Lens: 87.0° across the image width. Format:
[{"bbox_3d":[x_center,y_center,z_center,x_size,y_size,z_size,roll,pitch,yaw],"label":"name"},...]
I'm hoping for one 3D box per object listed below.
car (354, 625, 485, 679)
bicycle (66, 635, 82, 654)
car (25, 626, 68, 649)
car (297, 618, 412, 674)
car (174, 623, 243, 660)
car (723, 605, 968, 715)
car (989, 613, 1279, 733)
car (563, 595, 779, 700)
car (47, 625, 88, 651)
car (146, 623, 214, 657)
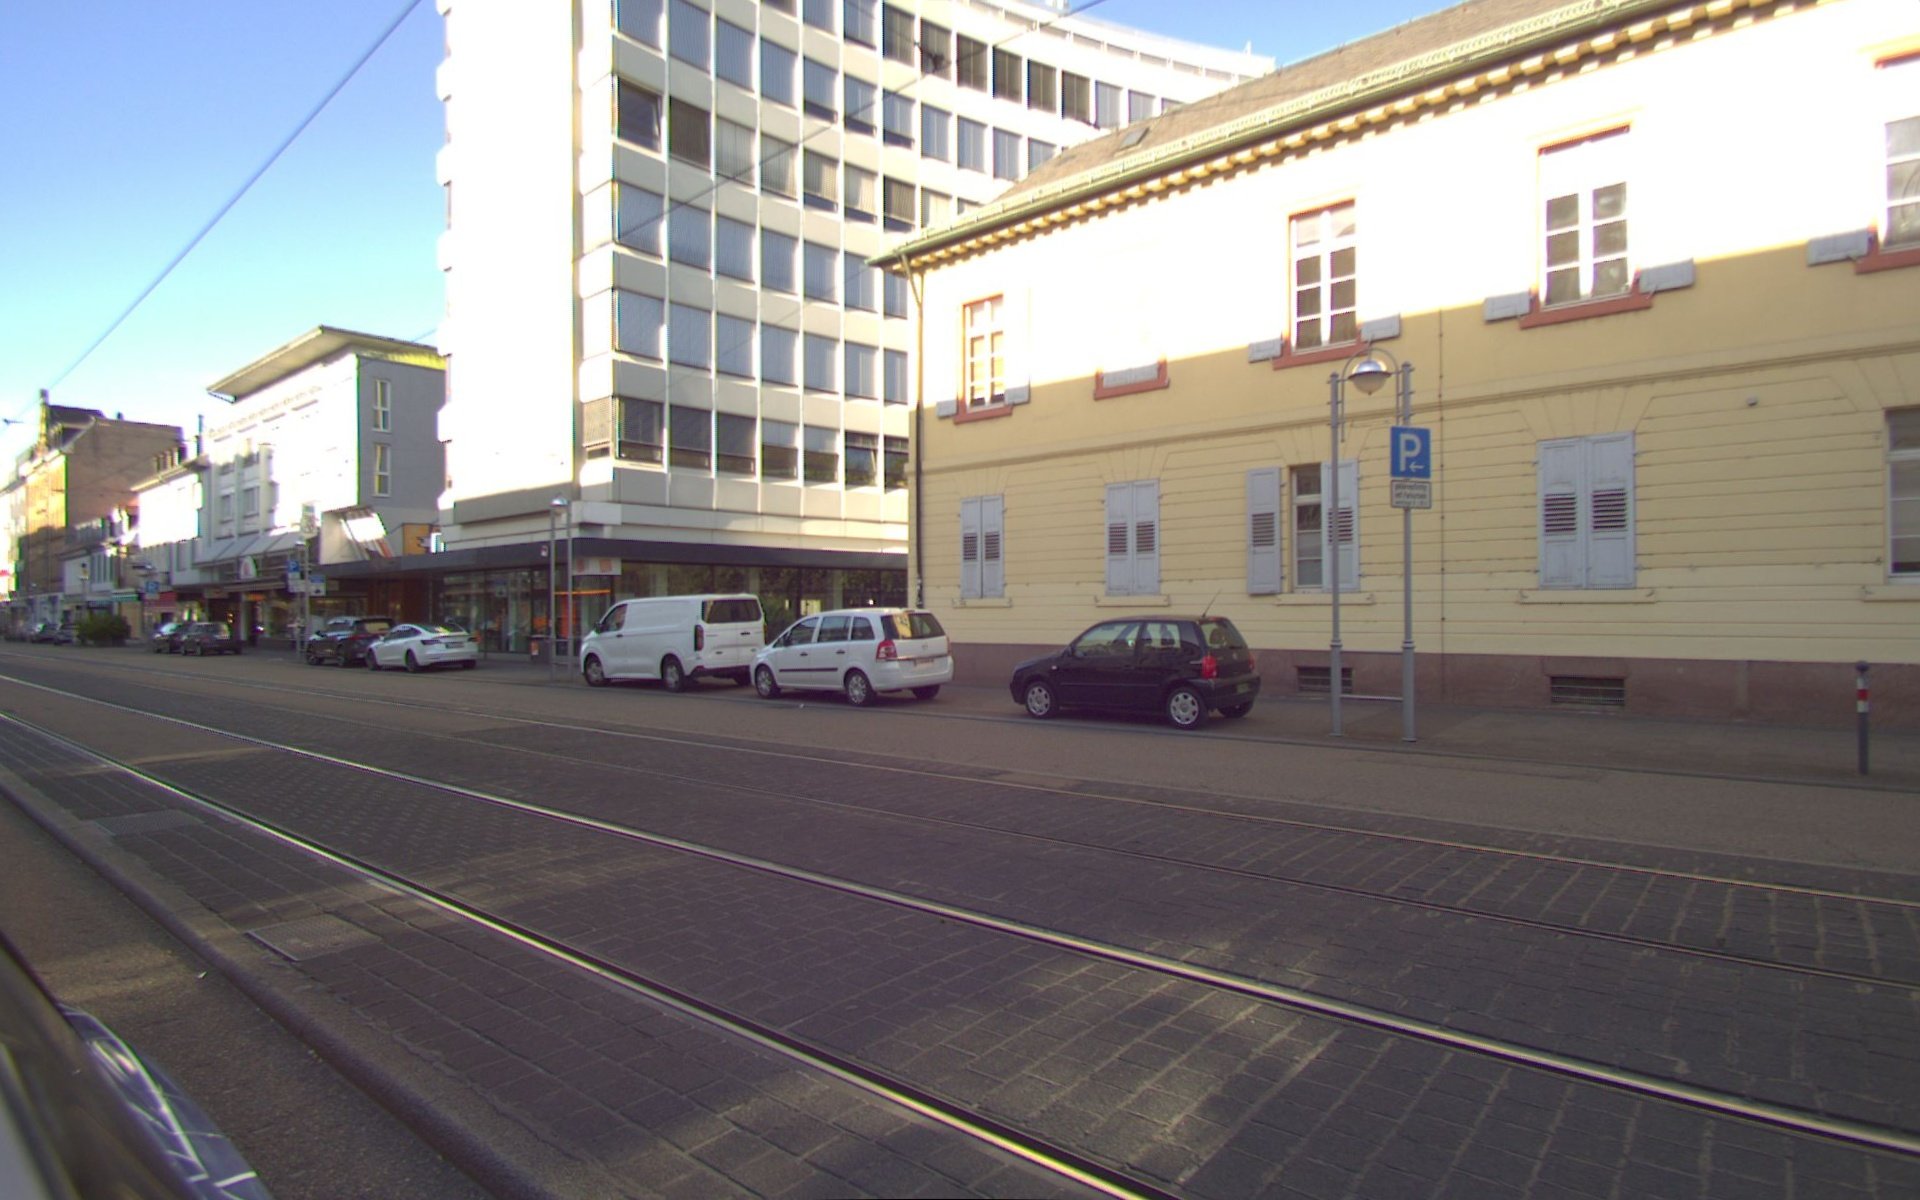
[{"bbox_3d":[-16.495,1.517,30.773,4.652,1.431,1.870,-1,1,39],"label":"car"},{"bbox_3d":[-55.317,2.760,63.205,1.715,1.098,0.513,-1,1,41],"label":"bicycle"},{"bbox_3d":[-67.412,2.738,74.654,4.760,1.525,1.799,-1,-1,41],"label":"car"},{"bbox_3d":[-20.527,1.491,34.217,4.653,1.691,1.958,-1,1,41],"label":"car"},{"bbox_3d":[-33.971,1.850,45.714,3.584,1.535,1.586,-1,1,38],"label":"car"},{"bbox_3d":[-2.178,0.981,18.254,4.649,1.698,1.788,-1,1,43],"label":"car"},{"bbox_3d":[2.361,0.932,14.229,3.717,1.411,1.598,-1,1,40],"label":"car"},{"bbox_3d":[-6.366,0.953,21.971,5.093,1.990,1.973,-1,1,40],"label":"car"},{"bbox_3d":[-60.414,2.568,68.525,2.889,1.616,1.680,-1,0,40],"label":"car"},{"bbox_3d":[-38.585,1.947,50.009,4.849,1.535,1.719,-1,1,41],"label":"car"}]
